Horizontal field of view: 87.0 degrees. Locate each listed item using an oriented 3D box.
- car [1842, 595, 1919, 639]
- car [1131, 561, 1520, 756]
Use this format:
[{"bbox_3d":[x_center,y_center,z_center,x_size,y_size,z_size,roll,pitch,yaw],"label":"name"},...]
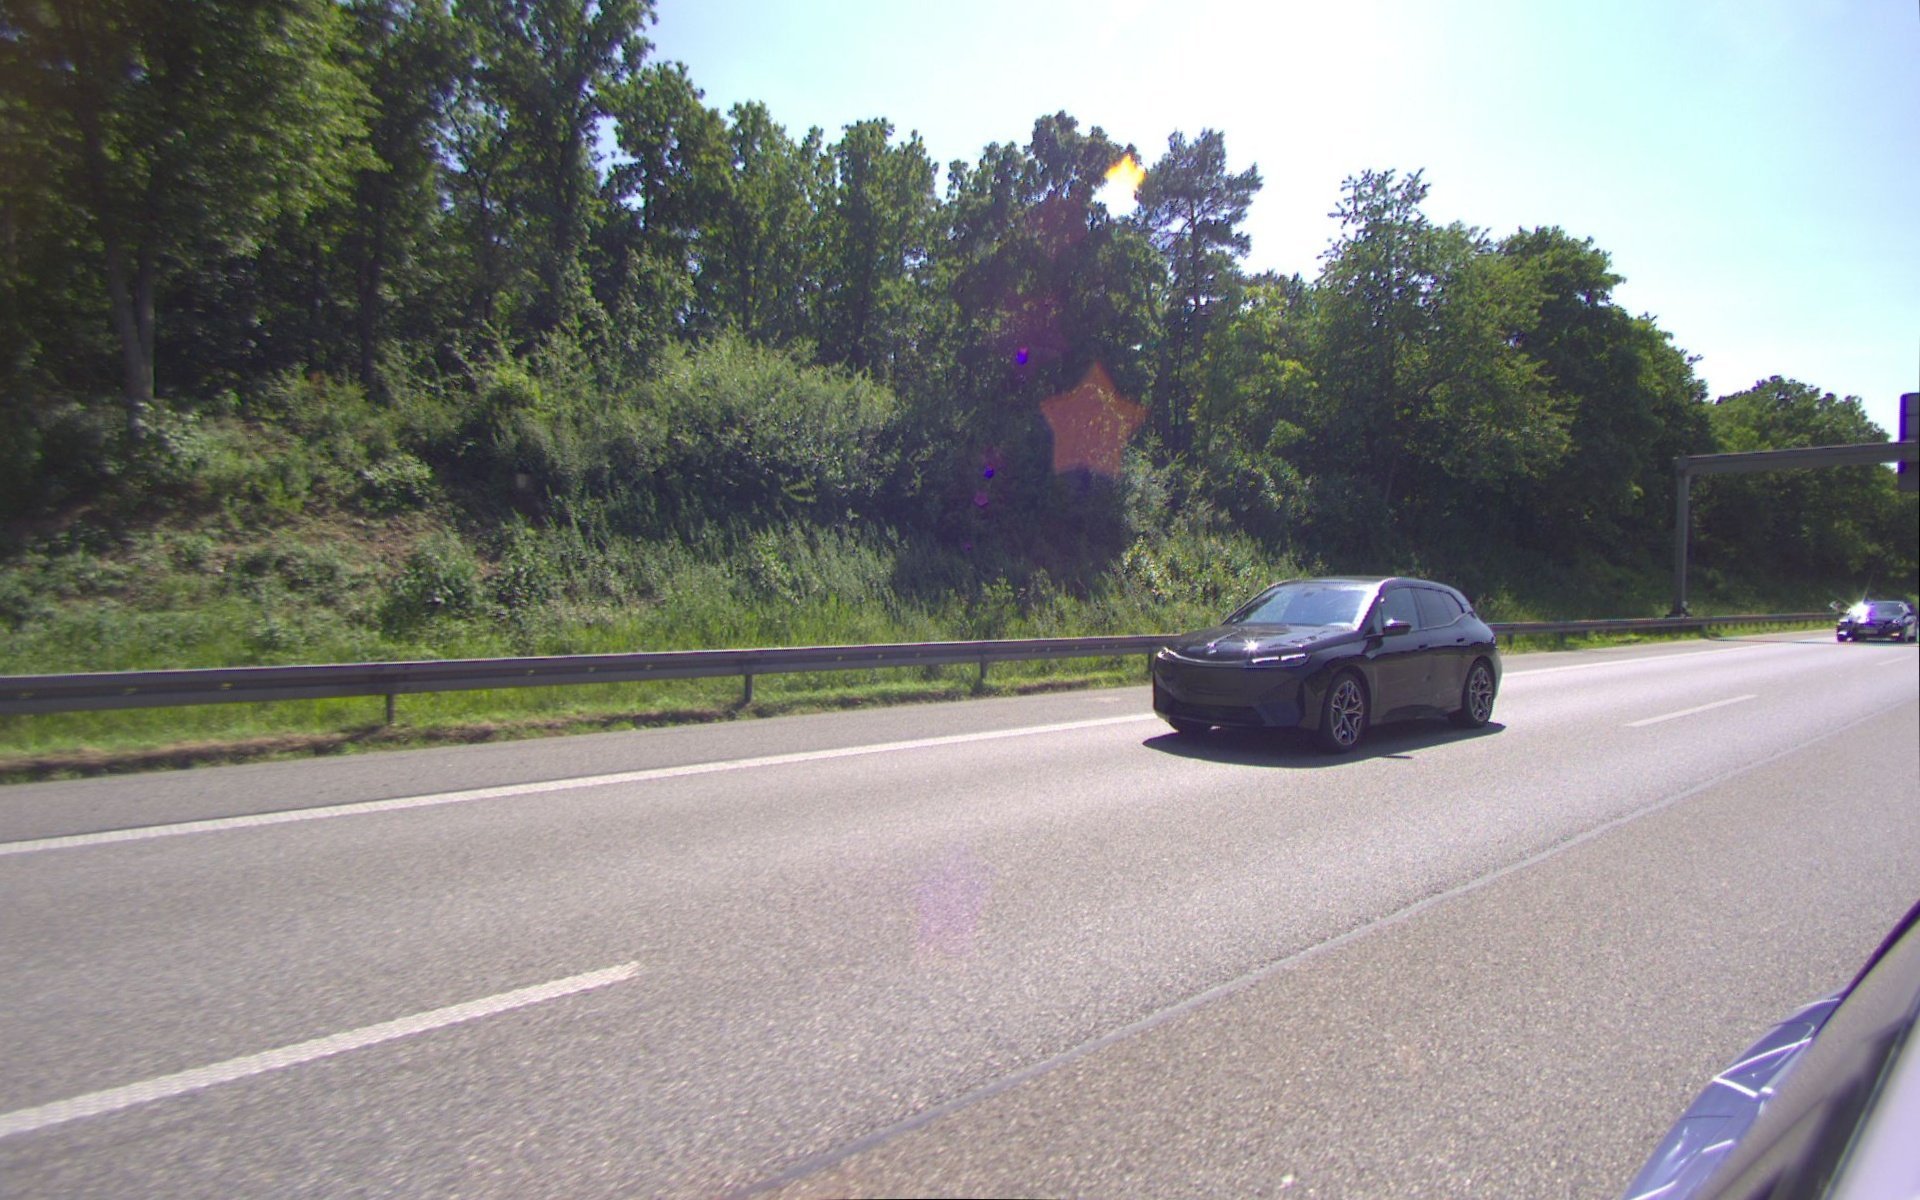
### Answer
[{"bbox_3d":[32.938,0.562,35.924,4.066,1.415,1.915,0,1,-41],"label":"car"},{"bbox_3d":[4.111,0.491,11.001,4.602,1.690,1.924,0,0,-39],"label":"car"}]
